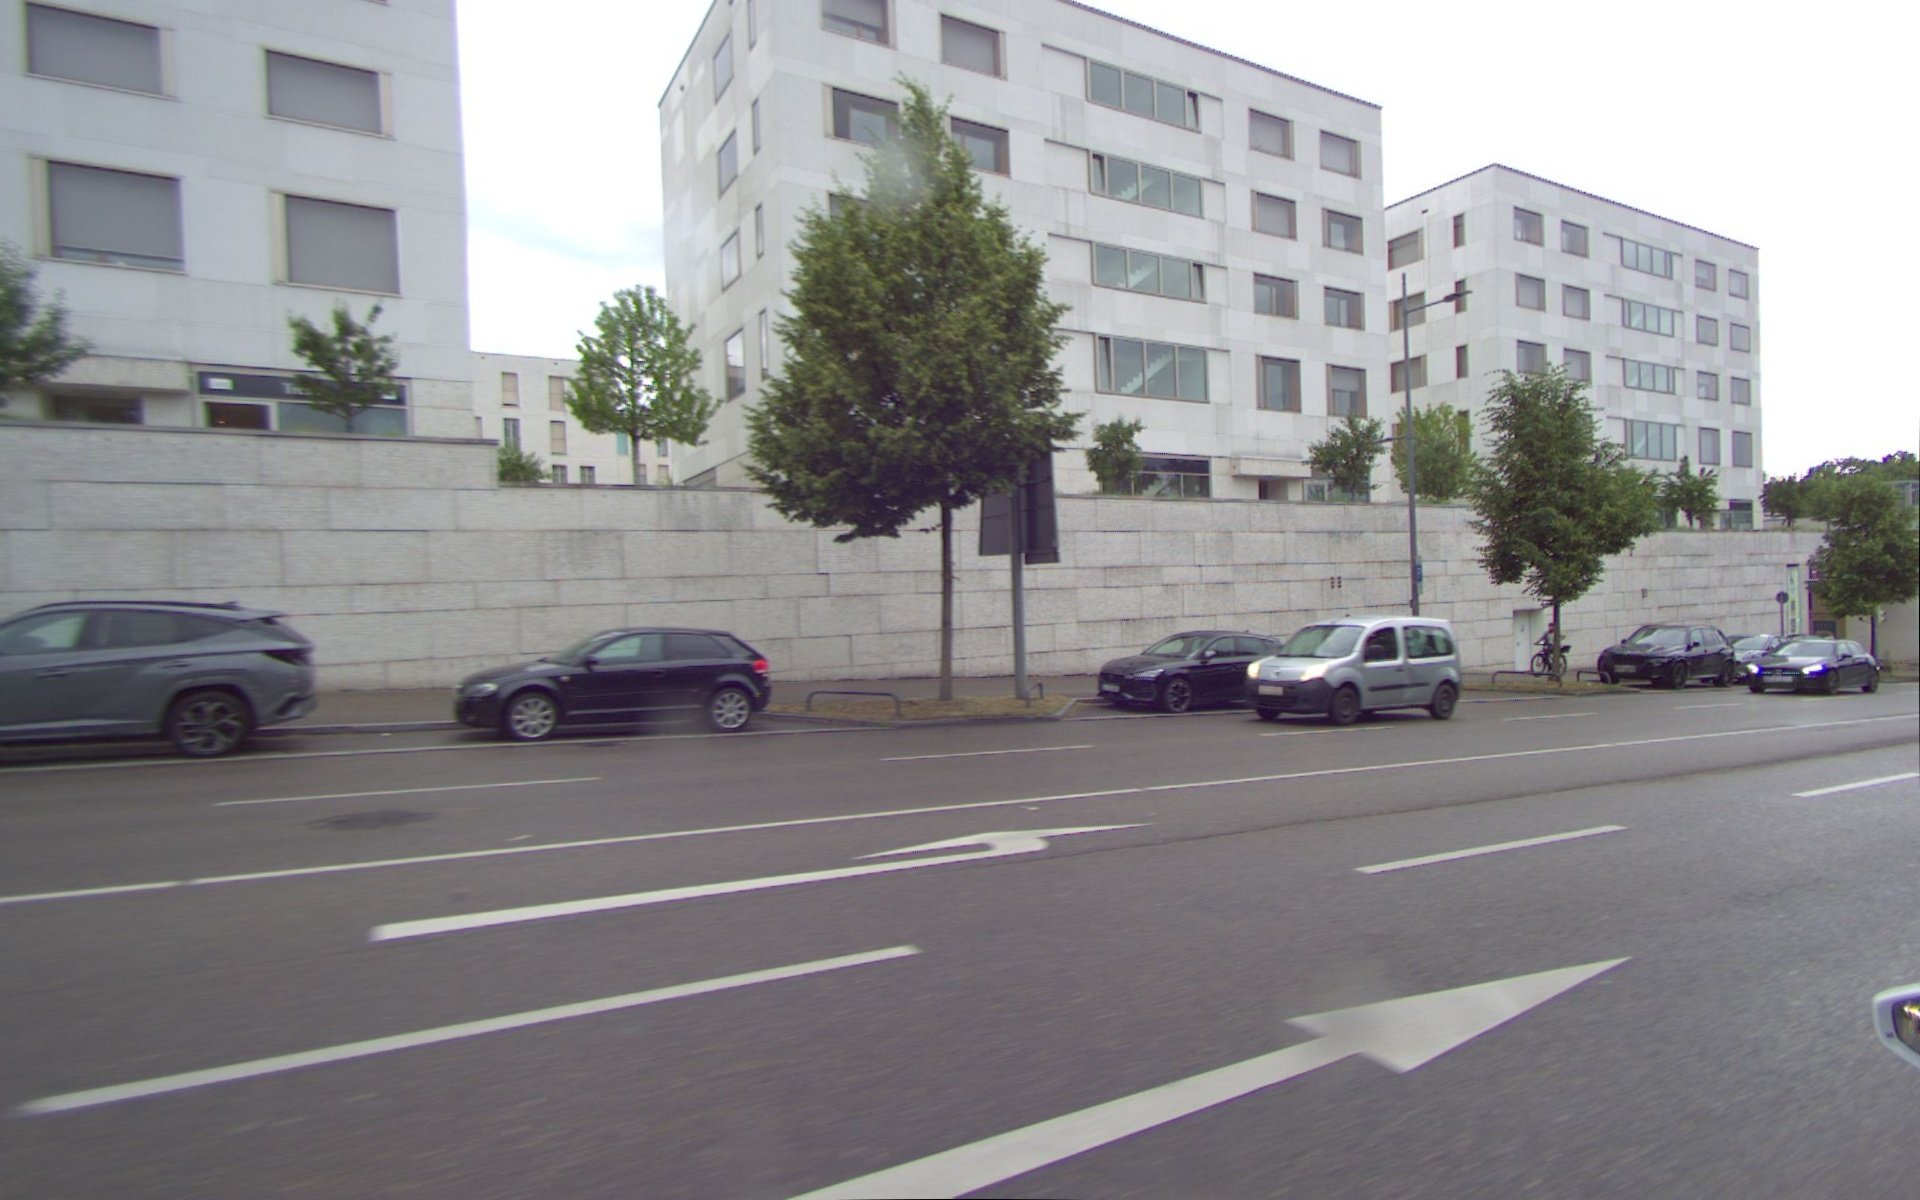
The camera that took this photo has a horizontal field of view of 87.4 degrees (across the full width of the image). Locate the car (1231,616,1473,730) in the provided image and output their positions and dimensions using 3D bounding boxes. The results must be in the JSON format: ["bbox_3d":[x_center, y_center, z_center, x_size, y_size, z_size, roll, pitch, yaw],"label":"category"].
[{"bbox_3d":[6.845,1.175,17.418,4.289,1.769,1.701,1,-1,-32],"label":"car"}]

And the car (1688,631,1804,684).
[{"bbox_3d":[24.906,1.806,31.818,3.667,1.535,1.671,2,0,-31],"label":"car"}]

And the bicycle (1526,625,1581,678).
[{"bbox_3d":[19.454,1.691,32.905,1.858,1.679,0.739,1,0,-30],"label":"bicycle"}]

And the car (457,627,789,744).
[{"bbox_3d":[-4.611,1.087,13.878,4.113,1.378,1.687,1,-1,-30],"label":"car"}]

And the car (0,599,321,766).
[{"bbox_3d":[-9.524,0.836,10.843,4.311,1.642,1.695,2,-1,-31],"label":"car"}]

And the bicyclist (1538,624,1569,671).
[{"bbox_3d":[19.441,1.551,32.916,0.760,1.538,0.574,1,-1,-30],"label":"bicyclist"}]

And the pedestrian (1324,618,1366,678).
[{"bbox_3d":[11.698,1.449,30.527,1.009,1.798,0.704,1,-1,-31],"label":"pedestrian"}]

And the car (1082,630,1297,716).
[{"bbox_3d":[4.408,1.342,19.164,3.918,1.445,1.671,2,0,-30],"label":"car"}]

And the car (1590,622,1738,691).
[{"bbox_3d":[20.239,1.583,28.831,4.545,1.804,1.847,1,-1,-32],"label":"car"}]

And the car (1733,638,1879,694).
[{"bbox_3d":[22.886,1.754,27.147,4.142,1.399,1.762,2,-3,-31],"label":"car"}]
